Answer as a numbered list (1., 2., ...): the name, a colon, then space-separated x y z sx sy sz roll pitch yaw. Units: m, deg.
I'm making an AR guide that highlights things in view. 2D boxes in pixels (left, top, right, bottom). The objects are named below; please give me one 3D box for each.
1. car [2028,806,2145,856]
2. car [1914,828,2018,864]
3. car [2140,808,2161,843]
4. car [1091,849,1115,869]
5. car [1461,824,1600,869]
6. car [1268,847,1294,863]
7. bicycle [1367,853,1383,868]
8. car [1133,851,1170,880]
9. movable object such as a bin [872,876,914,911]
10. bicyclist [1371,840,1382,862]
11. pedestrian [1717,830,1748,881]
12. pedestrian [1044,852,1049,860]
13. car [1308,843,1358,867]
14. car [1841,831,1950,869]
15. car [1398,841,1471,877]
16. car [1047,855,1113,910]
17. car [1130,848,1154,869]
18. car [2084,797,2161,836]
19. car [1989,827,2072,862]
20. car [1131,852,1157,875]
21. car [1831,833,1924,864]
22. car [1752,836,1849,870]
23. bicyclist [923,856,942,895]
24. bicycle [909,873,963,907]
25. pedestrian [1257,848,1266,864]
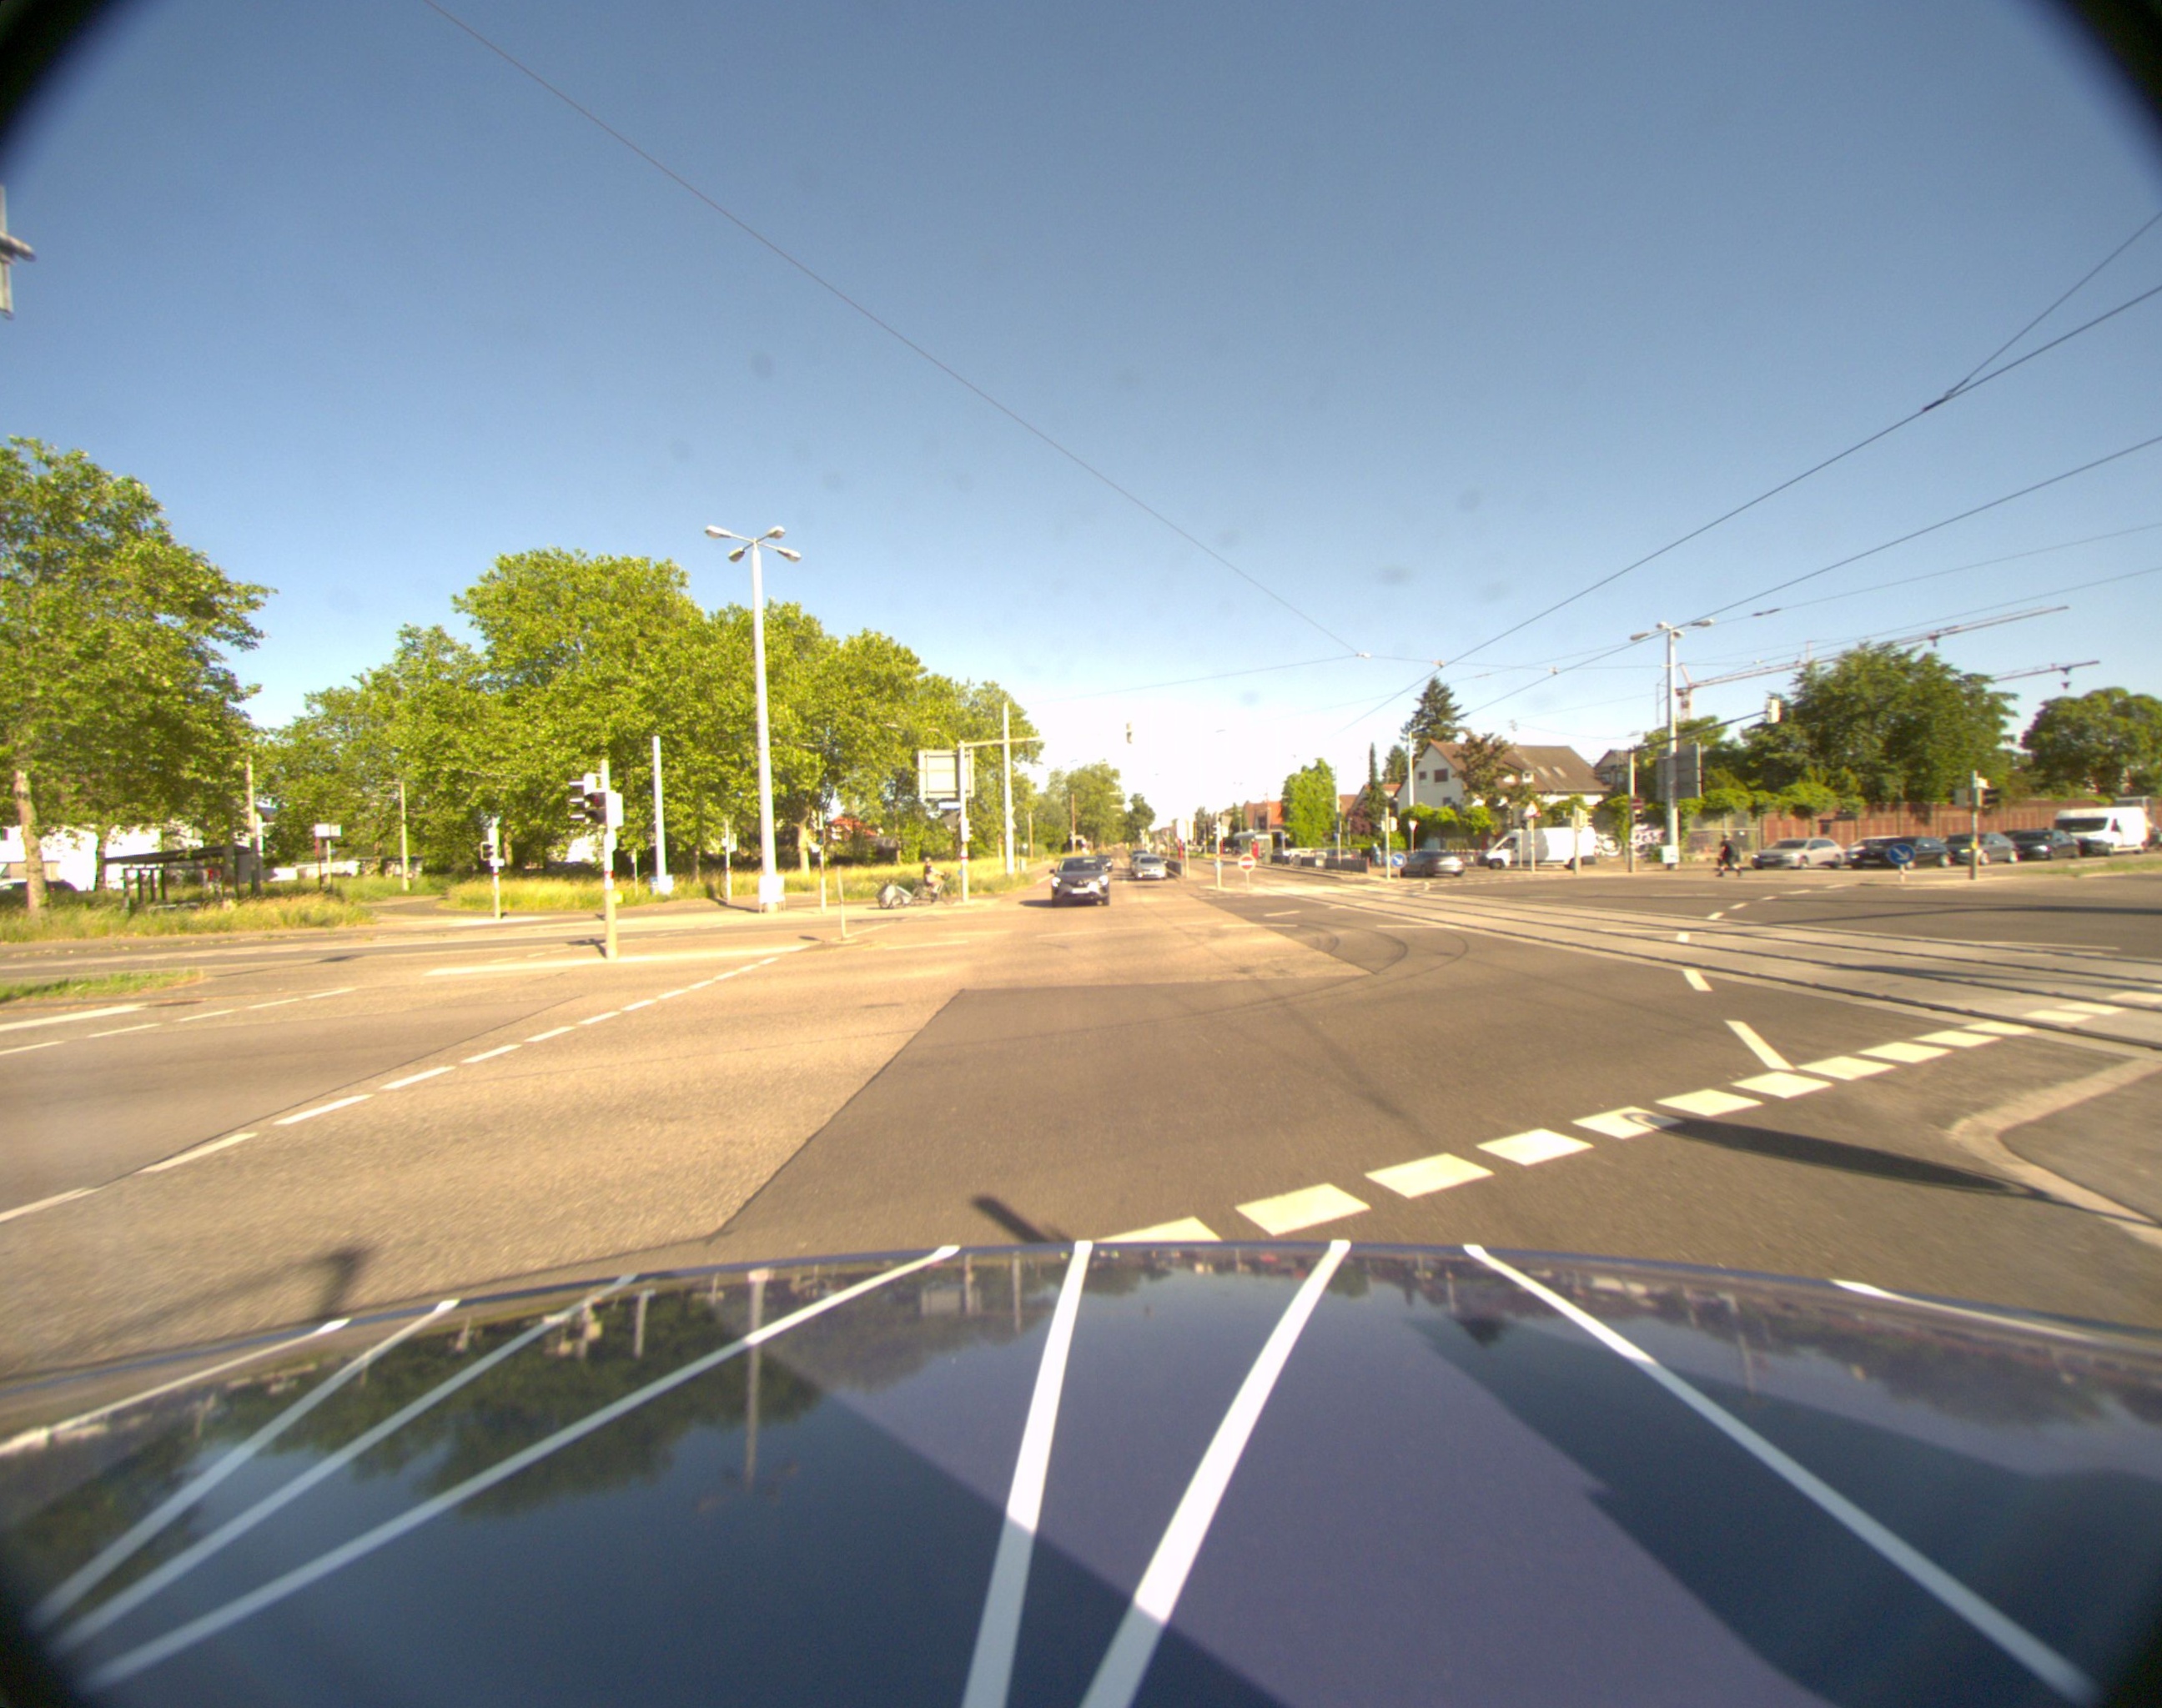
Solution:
1. car: 51.583 -1.179 38.972 5.928 2.397 2.177 -2 1 -22
2. car: 40.110 -0.374 34.447 4.264 1.457 1.934 -2 0 -24
3. car: 64.669 -1.701 44.878 4.005 2.002 1.804 -2 1 -26
4. car: 1.798 0.400 62.050 1.839 1.541 3.816 -1 1 3
5. car: 26.461 -0.433 45.102 6.854 2.443 2.352 -1 1 24
6. car: 19.404 0.063 73.970 1.687 1.450 3.704 -1 1 3
7. bicycle: 21.107 0.425 54.571 0.508 1.036 1.949 -1 1 3
8. car: 4.099 0.626 44.572 1.881 1.519 4.421 -1 1 2
9. movable object such as a bin: -6.355 1.321 25.629 1.317 1.062 0.910 -2 1 -16
10. bicyclist: 21.071 -0.218 54.194 0.490 1.599 0.648 -1 1 3
11. pedestrian: 24.973 0.067 29.132 0.612 1.937 0.774 -2 1 -41
12. pedestrian: -4.421 0.207 97.763 0.482 1.027 0.454 -1 1 3
13. car: 17.825 0.068 53.951 1.818 1.587 4.692 -2 0 -1
14. car: 34.865 -0.193 32.531 4.254 1.458 1.934 -2 1 -24
15. car: 17.561 0.222 37.997 1.796 1.678 4.001 -1 1 0
16. car: 0.049 0.846 24.536 1.838 1.541 3.816 -1 1 4
17. car: 5.173 0.324 64.818 1.885 1.686 4.300 -1 1 2
18. car: 57.030 -2.057 41.565 4.005 2.002 1.804 -2 1 -25
19. car: 45.364 -0.447 36.301 3.531 1.558 1.495 -2 0 -22
20. car: 4.234 0.617 51.669 1.585 1.460 3.414 -2 1 2
21. car: 40.727 -0.303 38.849 4.371 1.458 1.934 -2 1 -24
22. car: 33.496 -0.072 35.346 4.641 1.468 1.669 -2 1 -24
23. bicyclist: -5.246 0.749 26.790 0.565 1.333 0.510 -2 1 -16
24. bicycle: -5.115 1.263 26.824 1.821 1.112 0.467 -2 1 -18
25. pedestrian: 16.359 0.205 69.042 0.623 1.406 0.711 -2 1 1
